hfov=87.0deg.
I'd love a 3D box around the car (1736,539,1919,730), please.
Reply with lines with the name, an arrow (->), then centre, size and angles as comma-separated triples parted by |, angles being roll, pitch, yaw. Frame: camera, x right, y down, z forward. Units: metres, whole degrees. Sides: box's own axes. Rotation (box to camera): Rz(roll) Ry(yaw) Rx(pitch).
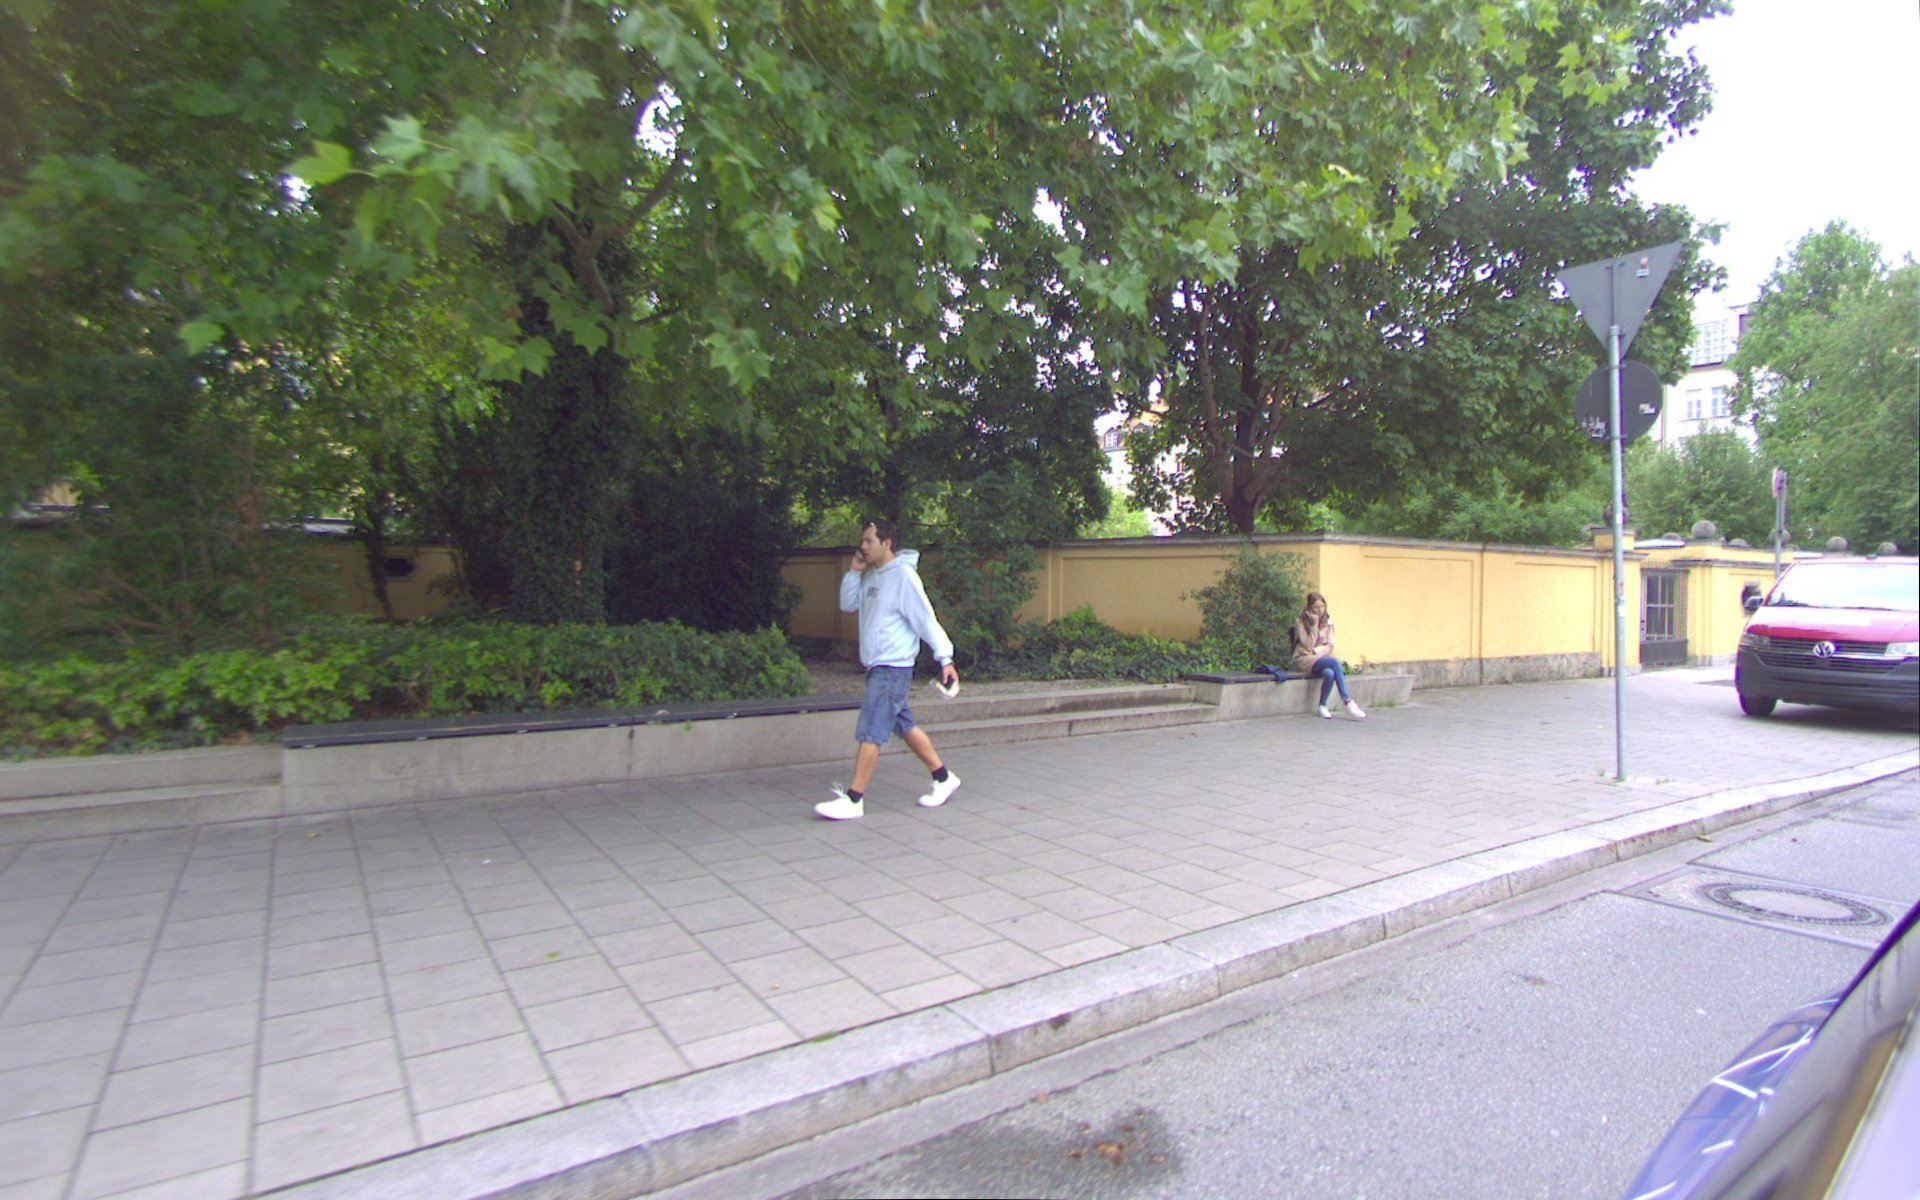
car -> 11.355, 0.346, 12.134 | 4.794, 1.945, 1.880 | 0, 0, -35

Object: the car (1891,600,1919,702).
car -> 15.952, 0.721, 15.373 | 4.287, 1.467, 1.889 | 0, -1, -37

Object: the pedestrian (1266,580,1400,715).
pedestrian -> 3.972, 0.469, 10.817 | 0.859, 1.355, 1.014 | 0, 1, -30

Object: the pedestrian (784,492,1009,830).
pedestrian -> -0.388, 0.312, 6.009 | 1.031, 1.793, 0.877 | 0, 1, -32
